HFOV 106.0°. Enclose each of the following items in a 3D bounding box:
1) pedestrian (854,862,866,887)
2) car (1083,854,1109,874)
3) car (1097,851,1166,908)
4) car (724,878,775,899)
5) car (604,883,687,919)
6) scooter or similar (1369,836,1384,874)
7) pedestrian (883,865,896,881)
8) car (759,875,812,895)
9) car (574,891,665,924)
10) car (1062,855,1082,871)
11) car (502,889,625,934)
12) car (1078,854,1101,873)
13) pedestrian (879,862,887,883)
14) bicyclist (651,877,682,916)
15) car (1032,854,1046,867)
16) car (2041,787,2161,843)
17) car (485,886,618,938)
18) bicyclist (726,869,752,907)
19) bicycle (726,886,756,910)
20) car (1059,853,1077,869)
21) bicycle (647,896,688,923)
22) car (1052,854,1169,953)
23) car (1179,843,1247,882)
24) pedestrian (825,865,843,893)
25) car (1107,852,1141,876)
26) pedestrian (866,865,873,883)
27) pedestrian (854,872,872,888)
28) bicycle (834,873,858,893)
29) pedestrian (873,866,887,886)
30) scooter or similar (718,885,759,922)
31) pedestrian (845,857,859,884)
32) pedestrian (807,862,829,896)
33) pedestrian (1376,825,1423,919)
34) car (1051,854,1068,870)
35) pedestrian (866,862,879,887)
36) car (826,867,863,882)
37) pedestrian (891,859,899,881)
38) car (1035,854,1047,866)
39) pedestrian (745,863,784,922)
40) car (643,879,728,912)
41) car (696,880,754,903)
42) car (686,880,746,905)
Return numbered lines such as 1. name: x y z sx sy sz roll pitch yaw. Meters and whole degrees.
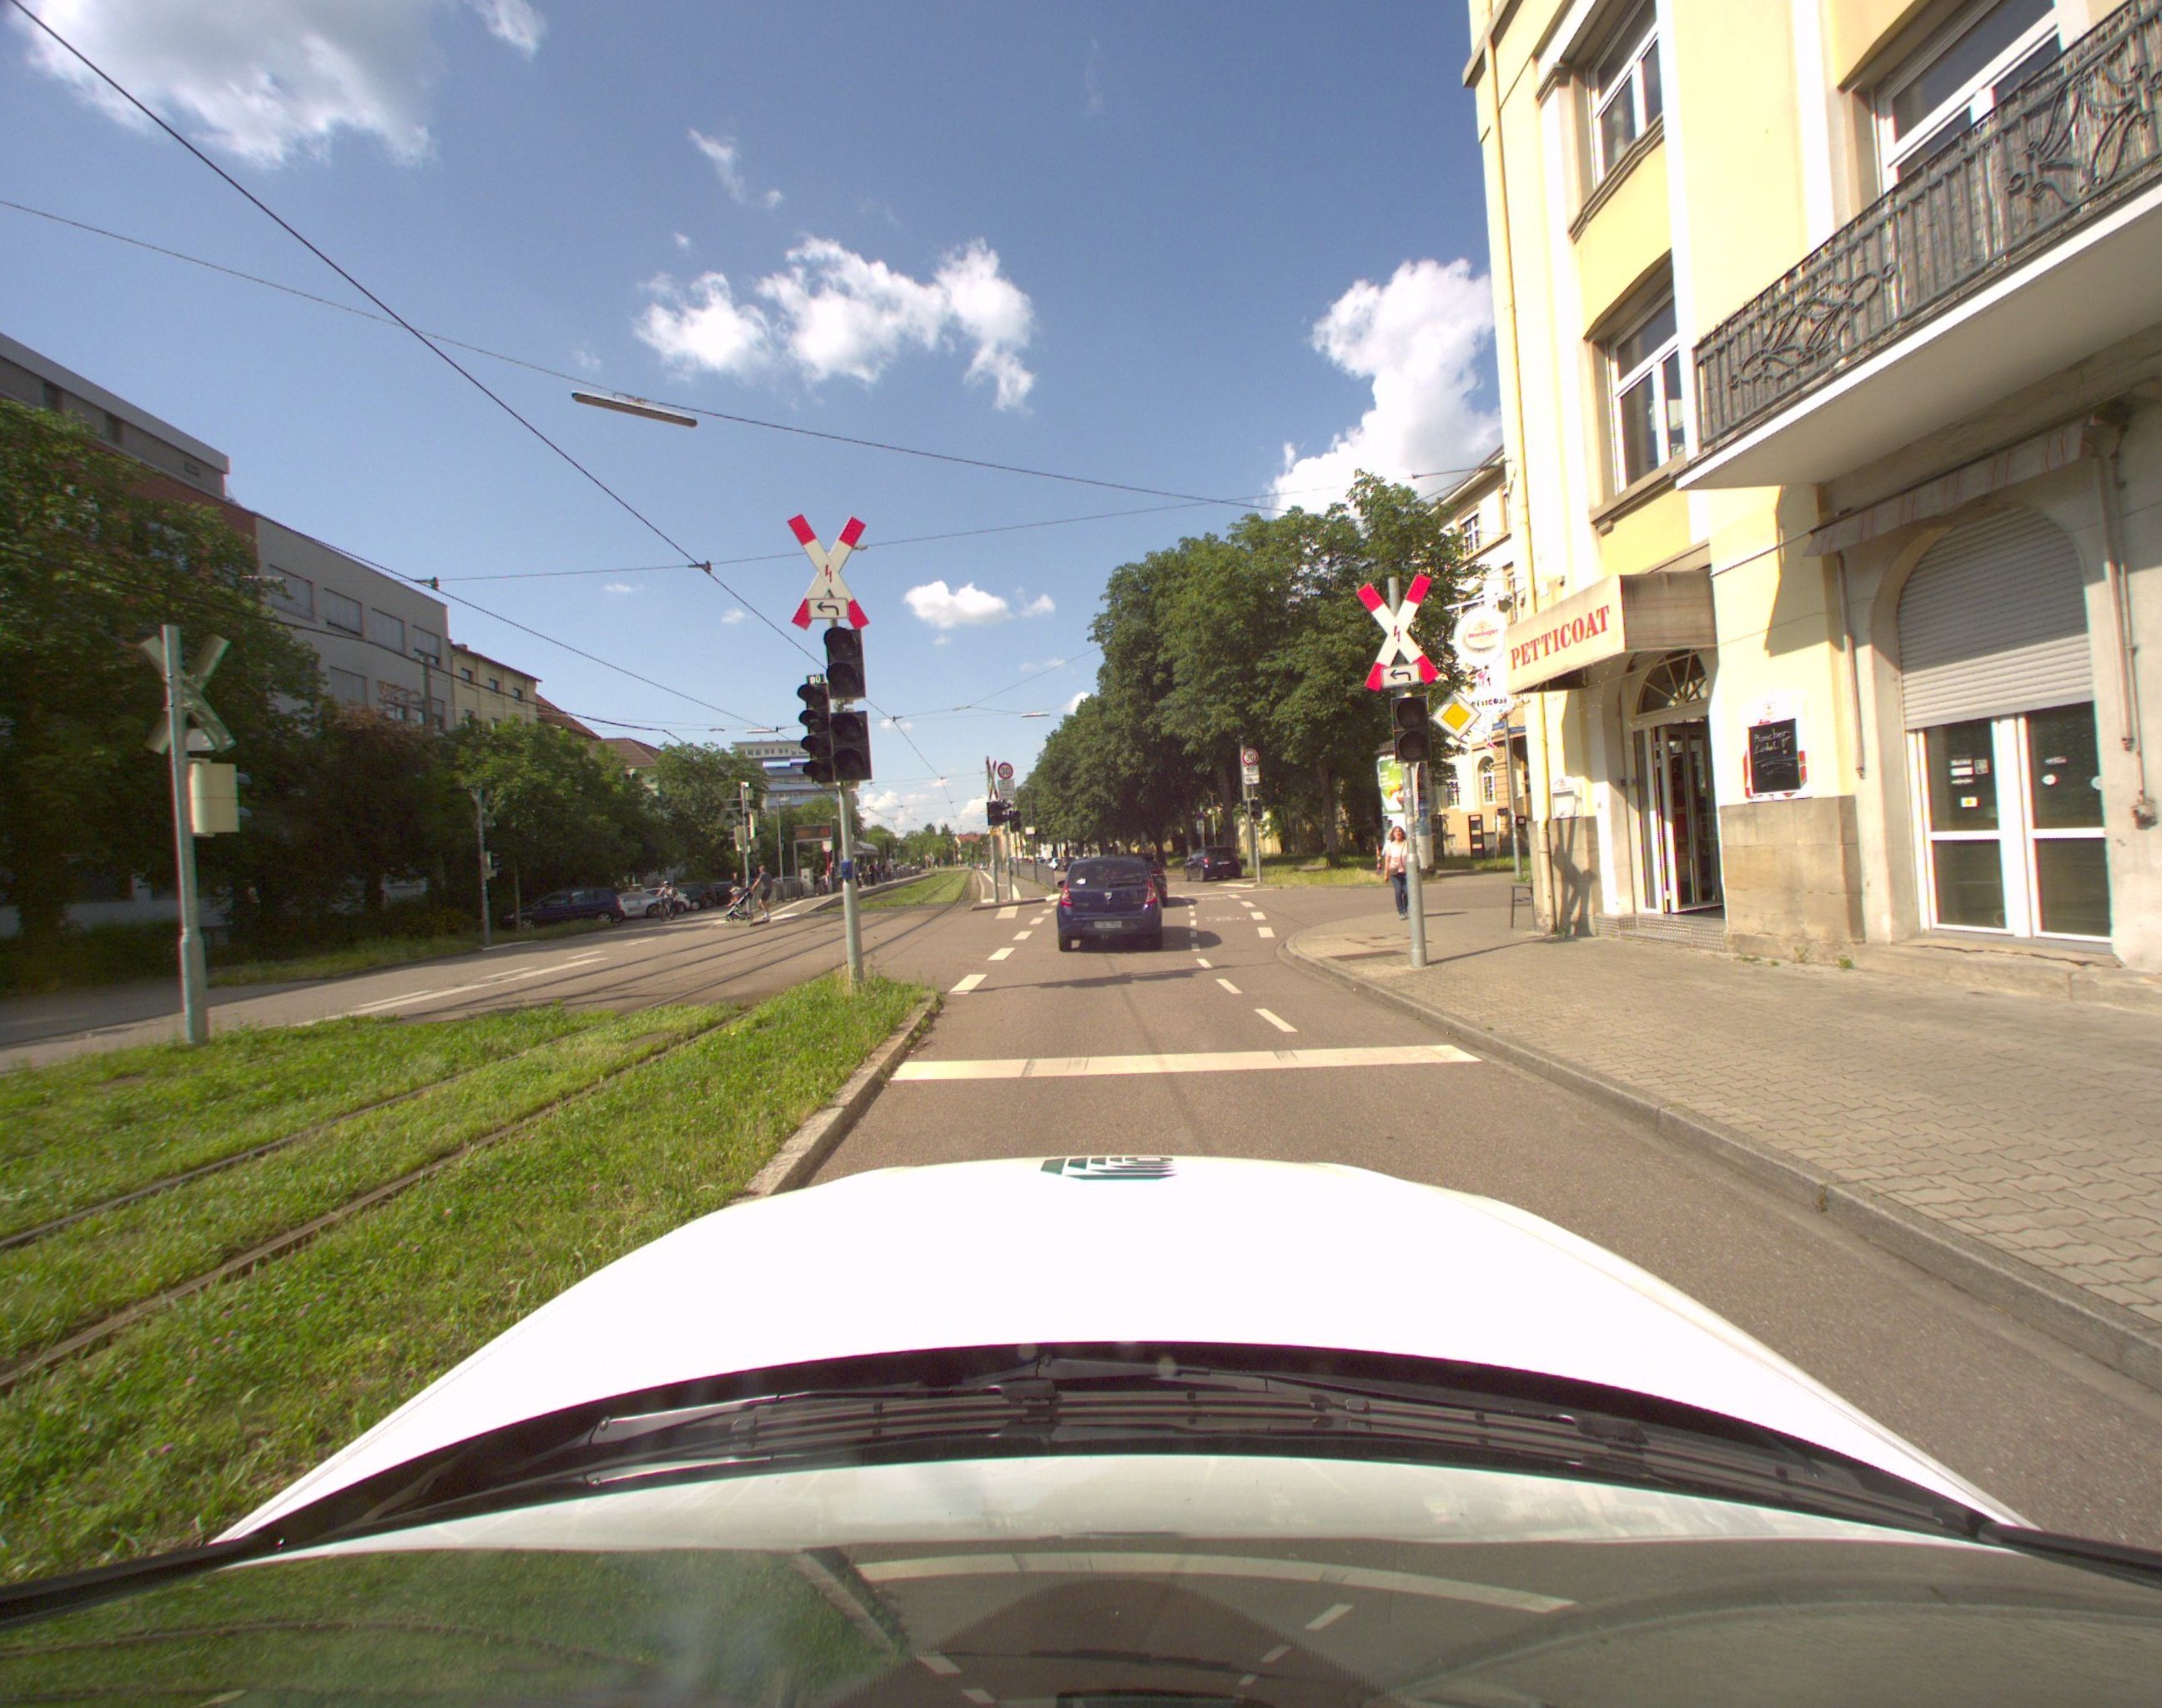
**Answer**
1. pedestrian: -15.834 1.494 58.342 0.592 1.736 0.556 -5 0 -3
2. car: 1.210 0.826 67.418 1.856 1.445 3.997 -6 0 -2
3. car: 1.334 0.655 22.773 1.694 1.368 3.515 -2 0 0
4. car: -25.282 2.654 62.239 1.437 1.309 3.268 -4 0 37
5. car: -22.327 2.404 41.844 3.409 1.505 1.525 -4 0 -45
6. scooter or similar: 9.685 0.029 26.732 0.303 1.189 1.167 -4 0 16
7. pedestrian: -18.574 1.827 79.146 1.033 1.437 0.698 -6 0 -22
8. car: -26.135 2.703 72.180 1.694 1.367 4.025 -5 0 42
9. car: -21.939 2.515 38.799 1.525 1.236 3.410 -4 0 44
10. car: -0.946 0.950 84.176 1.856 1.445 3.997 -5 0 -2
11. car: -22.300 2.439 35.205 1.704 1.499 4.158 -4 0 44
12. car: 0.733 0.827 72.109 1.847 1.515 3.997 -4 0 -2
13. pedestrian: -16.152 1.499 66.573 0.489 1.712 0.461 -5 0 -17
14. bicyclist: -17.823 1.821 35.043 0.783 1.581 0.862 -5 0 -4
15. car: -6.006 0.916 117.121 1.825 1.761 3.997 -4 0 -2
16. car: 30.423 -1.155 24.315 1.367 1.456 3.288 -4 0 34
17. car: -21.368 2.311 32.989 1.704 1.640 4.158 -4 0 44
18. bicyclist: -18.652 1.839 44.470 0.949 2.013 1.568 -4 0 -14
19. bicycle: -18.573 2.383 44.508 1.156 1.177 1.779 -5 0 -14
20. car: -1.434 0.753 90.050 1.823 1.537 3.997 -5 0 -2
21. bicycle: -17.741 2.378 35.023 0.679 0.971 2.176 -5 0 -3
22. car: 0.564 0.765 14.479 1.760 1.462 3.779 -2 0 3
23. car: 5.620 0.360 35.125 1.764 1.433 3.893 -5 0 -8
24. pedestrian: -14.465 1.451 47.737 0.661 1.569 0.686 -5 0 1
25. car: 2.930 0.684 56.113 1.856 1.445 3.997 -6 0 -2
26. pedestrian: -17.122 1.618 65.905 0.489 1.452 0.461 -5 0 -17
27. pedestrian: -14.912 1.784 55.727 0.923 0.988 0.796 -5 -1 -5
28. bicycle: -13.747 1.682 47.644 0.683 0.974 1.772 -6 0 3
29. pedestrian: -14.803 1.627 60.046 0.648 1.426 0.566 -5 0 30
30. scooter or similar: -10.939 1.573 26.044 0.954 1.064 0.795 -6 0 -8
31. pedestrian: -15.284 1.098 54.345 0.654 1.692 0.655 -5 0 -7
32. pedestrian: -13.786 1.321 42.687 0.705 1.726 0.672 -4 0 35
33. pedestrian: 5.879 0.323 15.044 0.666 1.648 0.767 -5 -1 21
34. car: -2.595 0.927 98.327 1.616 1.750 3.991 -4 0 -6
35. pedestrian: -15.208 1.458 59.436 0.602 1.766 0.639 -4 0 2
36. car: -29.680 2.571 102.343 4.022 1.447 1.707 -4 0 -42
37. pedestrian: -17.775 1.524 77.794 0.661 2.013 0.800 -4 0 -12
38. car: -6.032 0.922 123.240 1.664 1.771 3.995 -4 0 -3
39. pedestrian: -10.246 1.227 26.400 0.871 1.775 1.000 -6 0 -11
40. car: -22.885 2.394 47.261 1.669 1.456 4.025 -5 0 43
41. car: -24.488 2.593 56.088 1.437 1.309 3.268 -4 0 37
42. car: -23.869 2.508 53.320 1.437 1.309 3.268 -4 0 35
